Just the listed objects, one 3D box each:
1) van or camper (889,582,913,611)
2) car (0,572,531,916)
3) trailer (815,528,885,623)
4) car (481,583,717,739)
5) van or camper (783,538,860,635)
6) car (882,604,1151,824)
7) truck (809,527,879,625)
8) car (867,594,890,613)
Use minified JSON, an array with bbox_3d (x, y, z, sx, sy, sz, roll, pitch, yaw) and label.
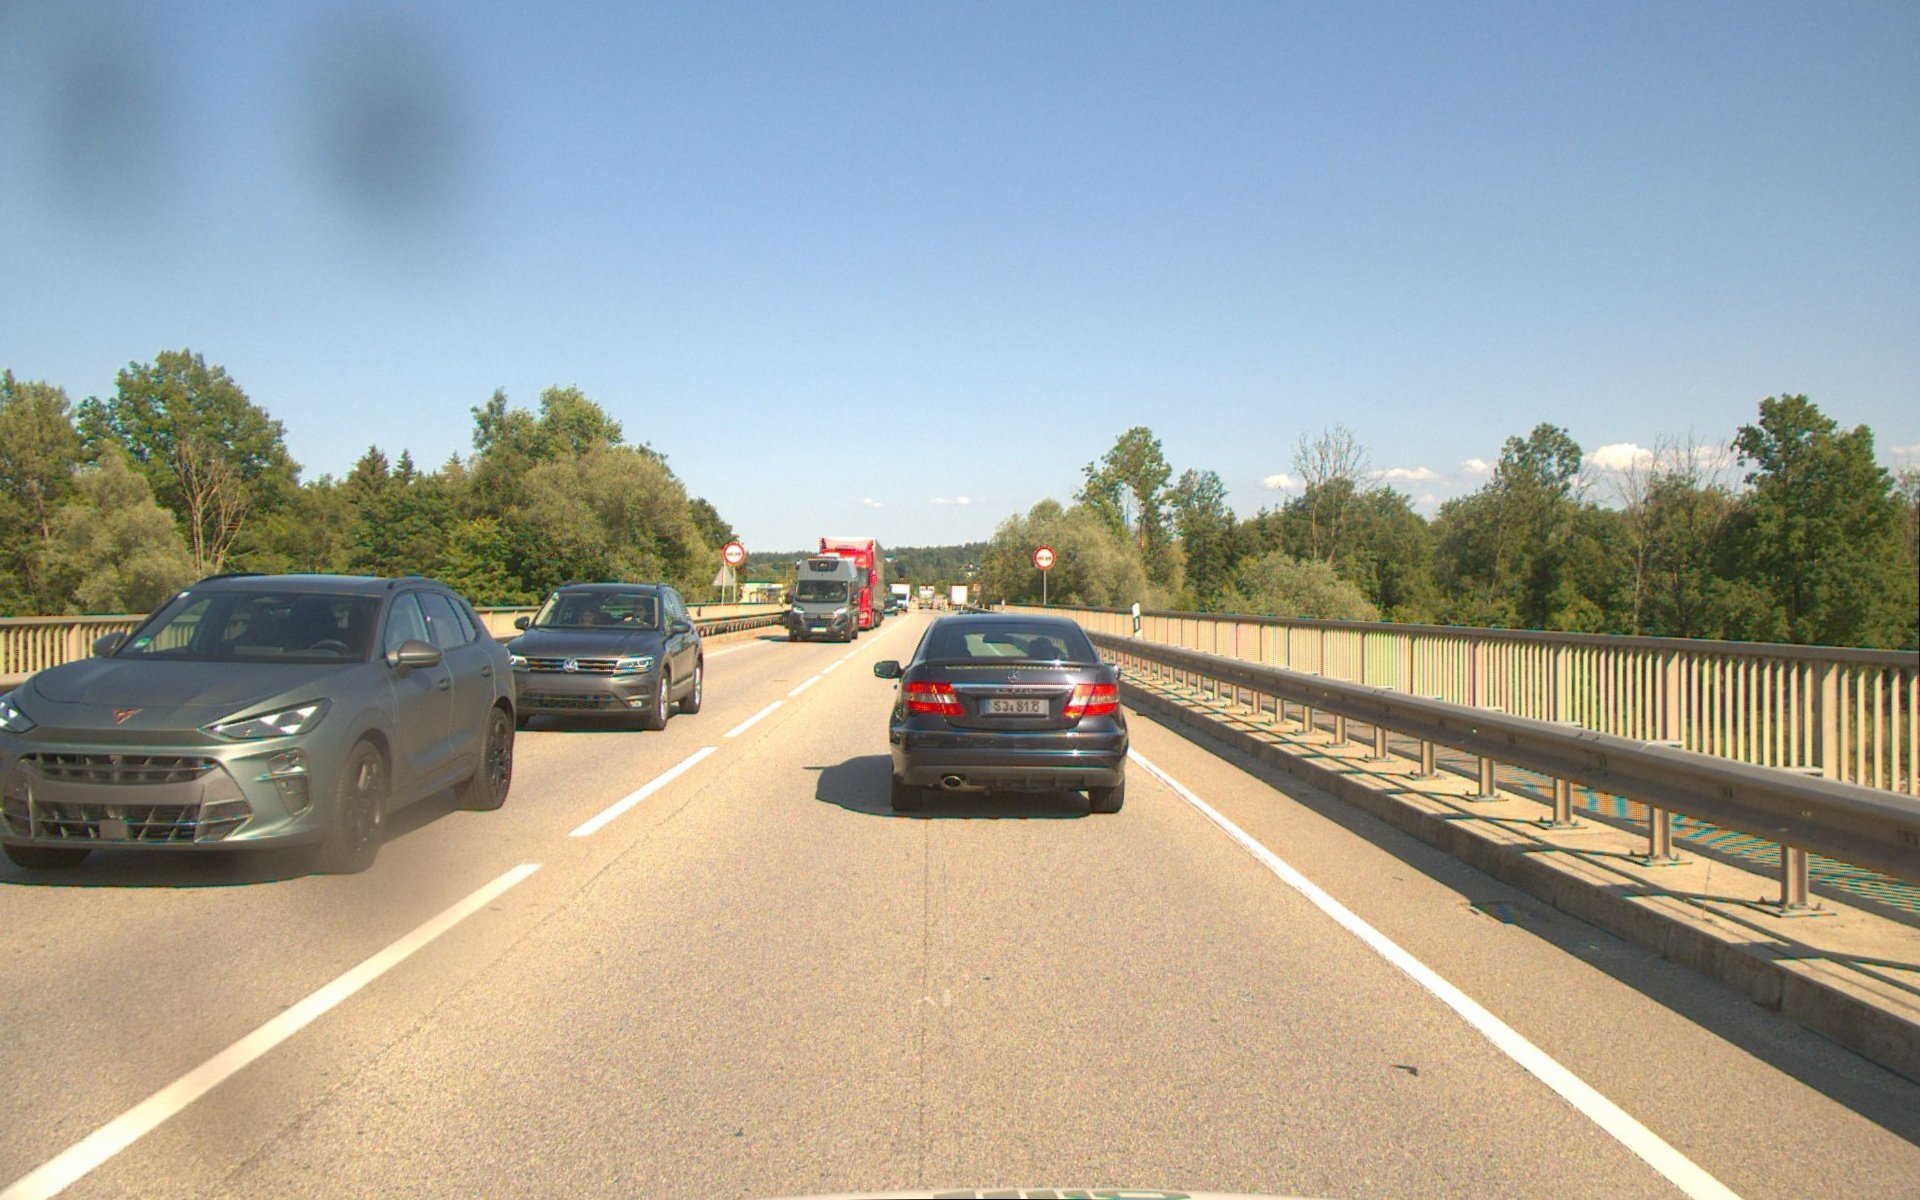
[{"bbox_3d":[-6.942,-0.411,195.378,2.581,3.312,7.750,0,1,0],"label":"van or camper"},{"bbox_3d":[-3.996,0.666,9.967,1.770,1.605,4.200,1,0,-1],"label":"car"},{"bbox_3d":[-5.368,-1.171,83.018,2.848,4.377,14.298,0,0,-1],"label":"trailer"},{"bbox_3d":[-4.123,0.625,19.591,1.836,1.611,4.274,1,0,0],"label":"car"},{"bbox_3d":[-4.645,-0.471,56.372,2.268,3.104,6.815,0,1,-2],"label":"van or camper"},{"bbox_3d":[0.376,0.752,12.835,1.756,1.400,4.000,0,0,0],"label":"car"},{"bbox_3d":[-5.210,-1.064,75.386,2.849,4.257,5.712,0,0,-1],"label":"truck"},{"bbox_3d":[-7.192,0.280,146.148,1.805,1.670,4.572,0,1,-5],"label":"car"}]
